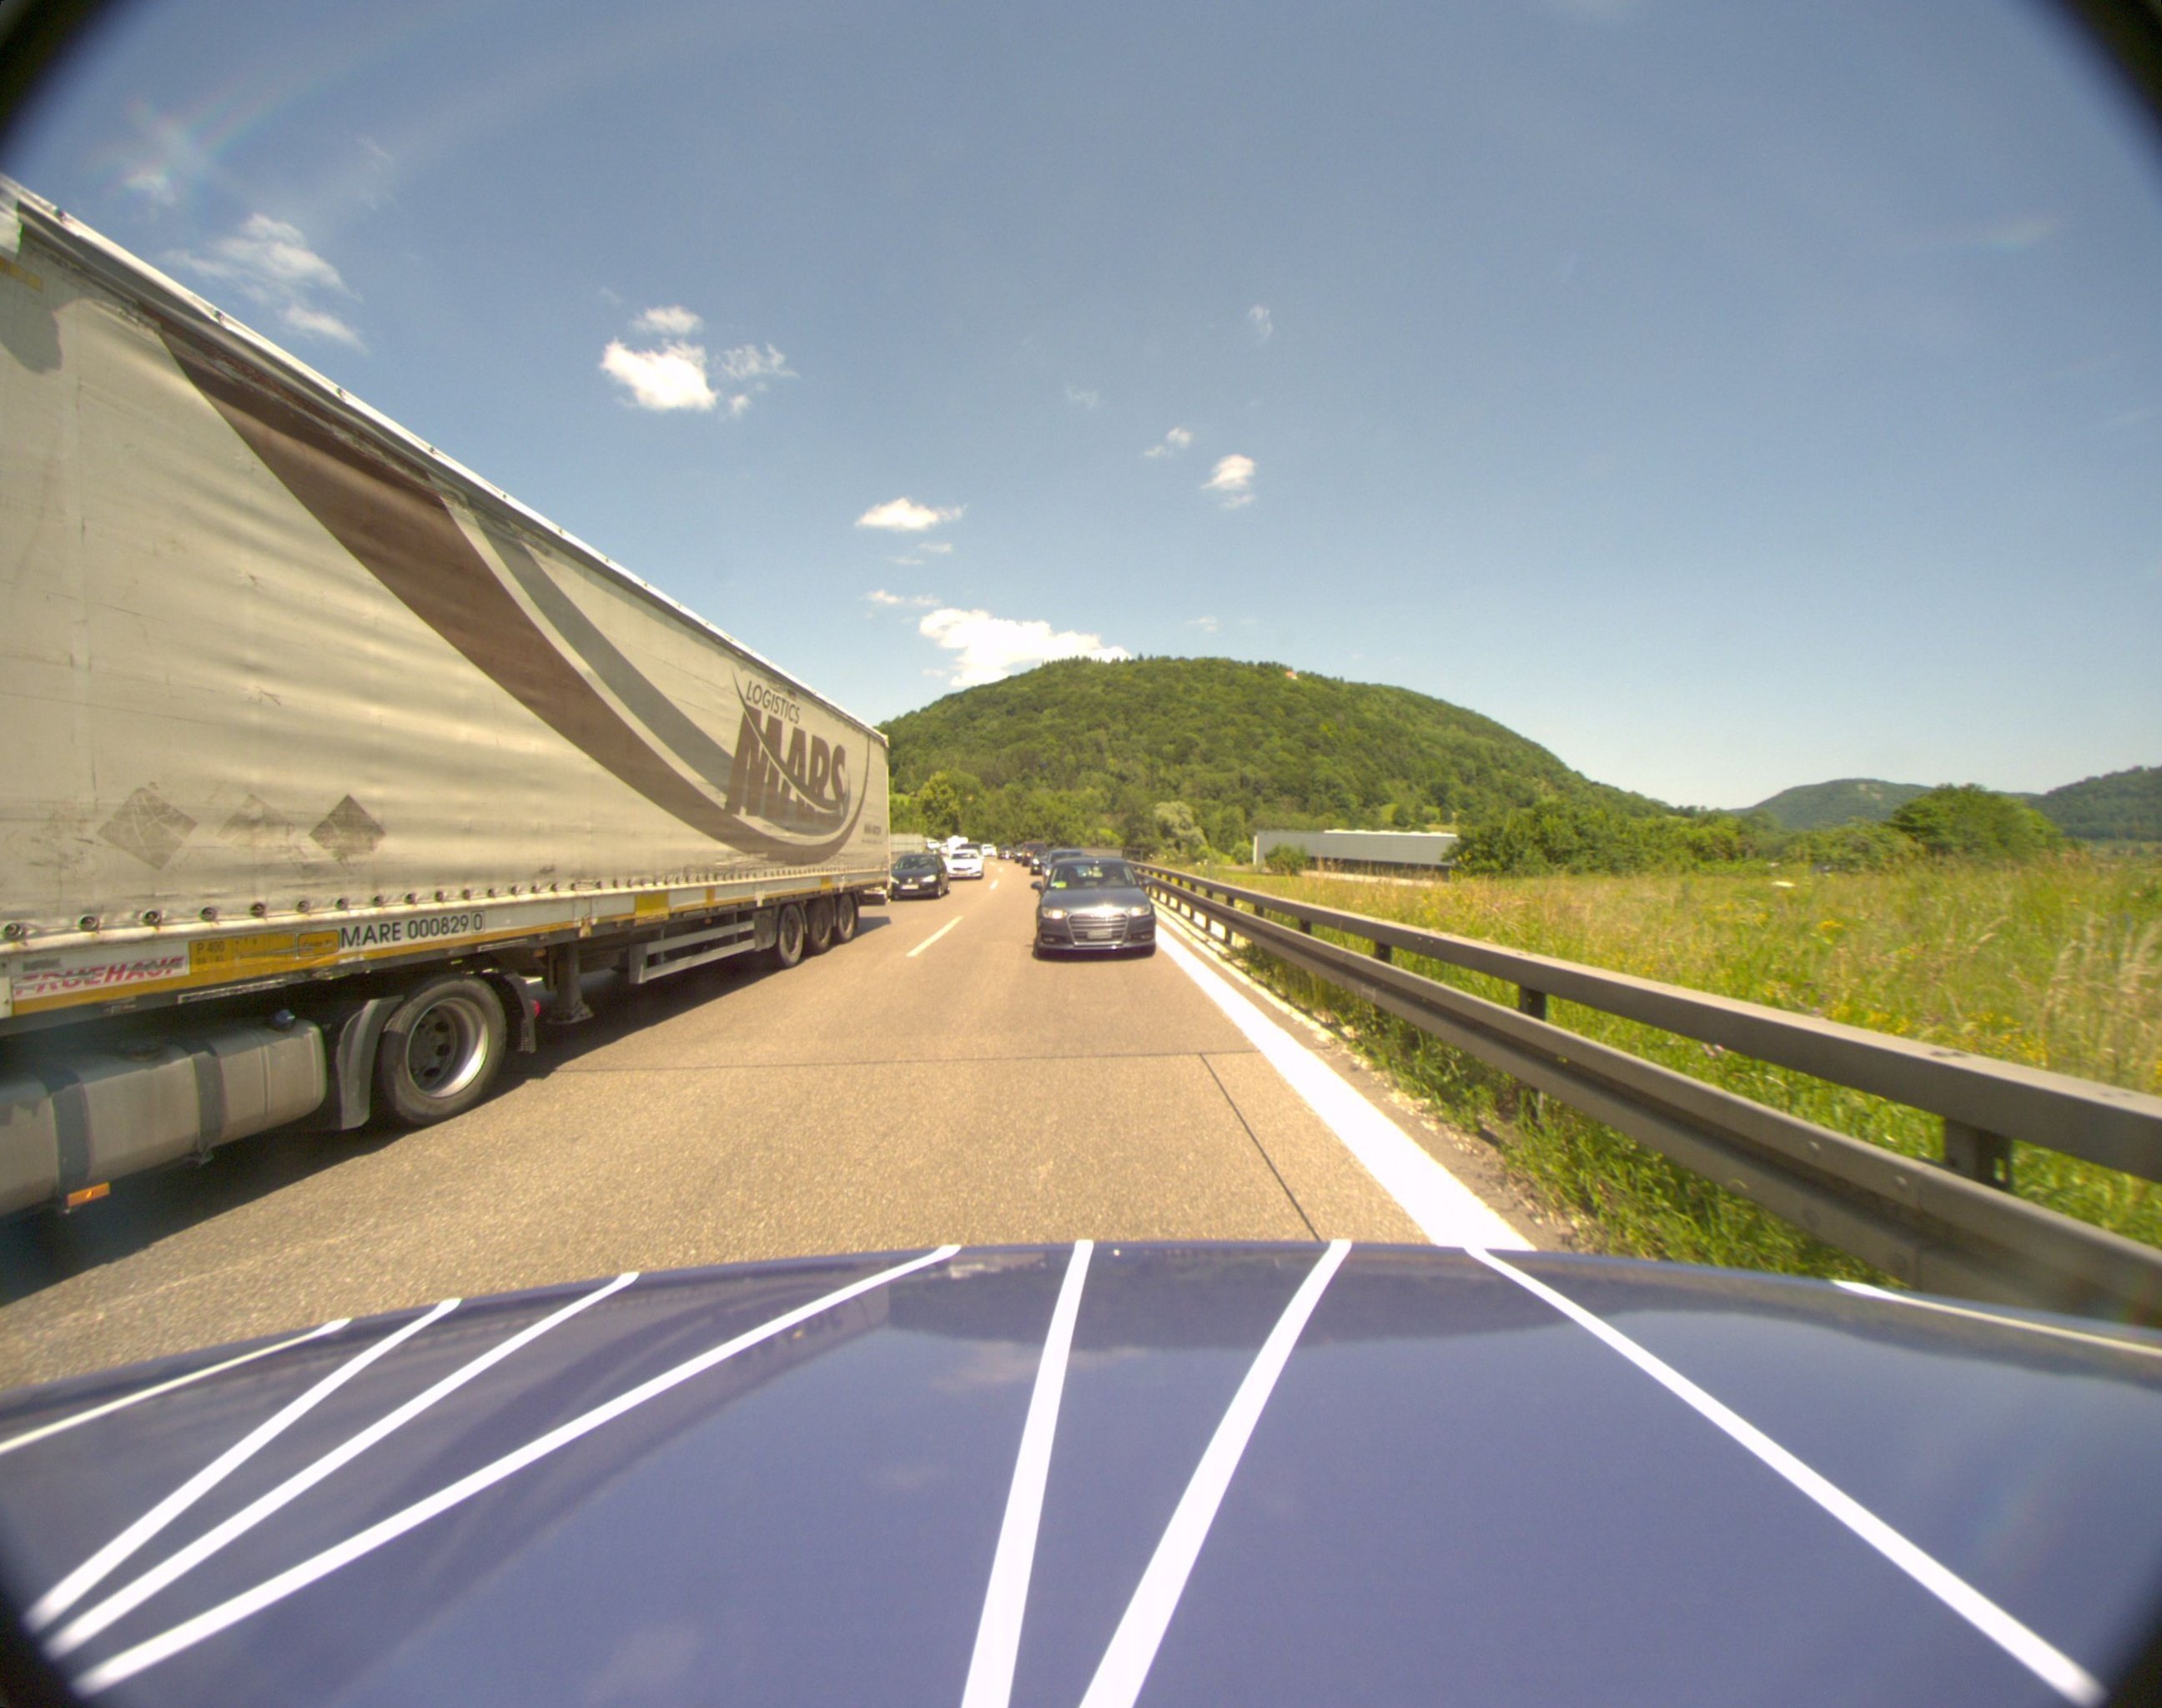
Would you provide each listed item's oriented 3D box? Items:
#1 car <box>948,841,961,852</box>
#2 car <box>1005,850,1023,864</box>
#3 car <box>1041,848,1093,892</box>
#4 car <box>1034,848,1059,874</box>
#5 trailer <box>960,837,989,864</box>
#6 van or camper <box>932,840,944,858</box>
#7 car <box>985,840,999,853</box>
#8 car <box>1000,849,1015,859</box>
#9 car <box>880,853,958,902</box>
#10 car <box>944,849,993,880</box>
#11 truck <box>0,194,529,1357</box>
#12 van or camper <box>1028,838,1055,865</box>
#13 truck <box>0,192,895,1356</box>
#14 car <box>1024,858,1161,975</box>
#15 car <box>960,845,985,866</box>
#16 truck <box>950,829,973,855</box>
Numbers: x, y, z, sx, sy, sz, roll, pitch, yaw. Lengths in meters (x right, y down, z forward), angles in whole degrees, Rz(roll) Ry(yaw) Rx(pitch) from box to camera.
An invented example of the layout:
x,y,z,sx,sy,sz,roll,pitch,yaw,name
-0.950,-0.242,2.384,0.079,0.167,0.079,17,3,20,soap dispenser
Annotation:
x,y,z,sx,sy,sz,roll,pitch,yaw,name
-19.081,-1.045,114.306,1.699,1.523,3.678,-4,1,-7,car
-5.789,0.277,65.932,1.491,1.102,3.212,-2,1,-3,car
-0.482,0.512,26.994,1.696,1.422,3.462,-2,0,0,car
-1.838,0.338,40.732,1.287,1.305,3.452,-2,0,-2,car
-8.059,-0.280,57.884,1.999,1.958,3.997,0,1,-6,trailer
-24.783,-0.803,131.884,1.911,3.010,4.870,-1,1,-10,van or camper
-11.875,-0.968,100.733,1.532,1.627,3.415,-4,1,-10,car
-8.250,-0.029,85.202,1.492,1.102,3.212,-2,1,-6,car
-5.190,0.712,24.791,1.696,1.414,3.838,-2,0,0,car
-5.562,0.479,37.993,1.907,1.422,3.721,-2,0,0,car
-5.107,-0.261,2.200,2.726,4.045,5.752,-1,1,-1,truck
-2.817,-0.169,54.904,1.818,1.855,3.612,-2,0,-2,van or camper
-5.225,-0.368,9.084,2.733,4.044,13.737,-1,1,-1,truck
0.147,0.827,11.998,1.755,1.382,4.054,-2,1,0,car
-7.703,0.076,54.036,1.489,1.375,3.736,1,1,-4,car
-15.141,-1.486,96.080,2.604,3.089,6.853,-4,1,-9,truck
